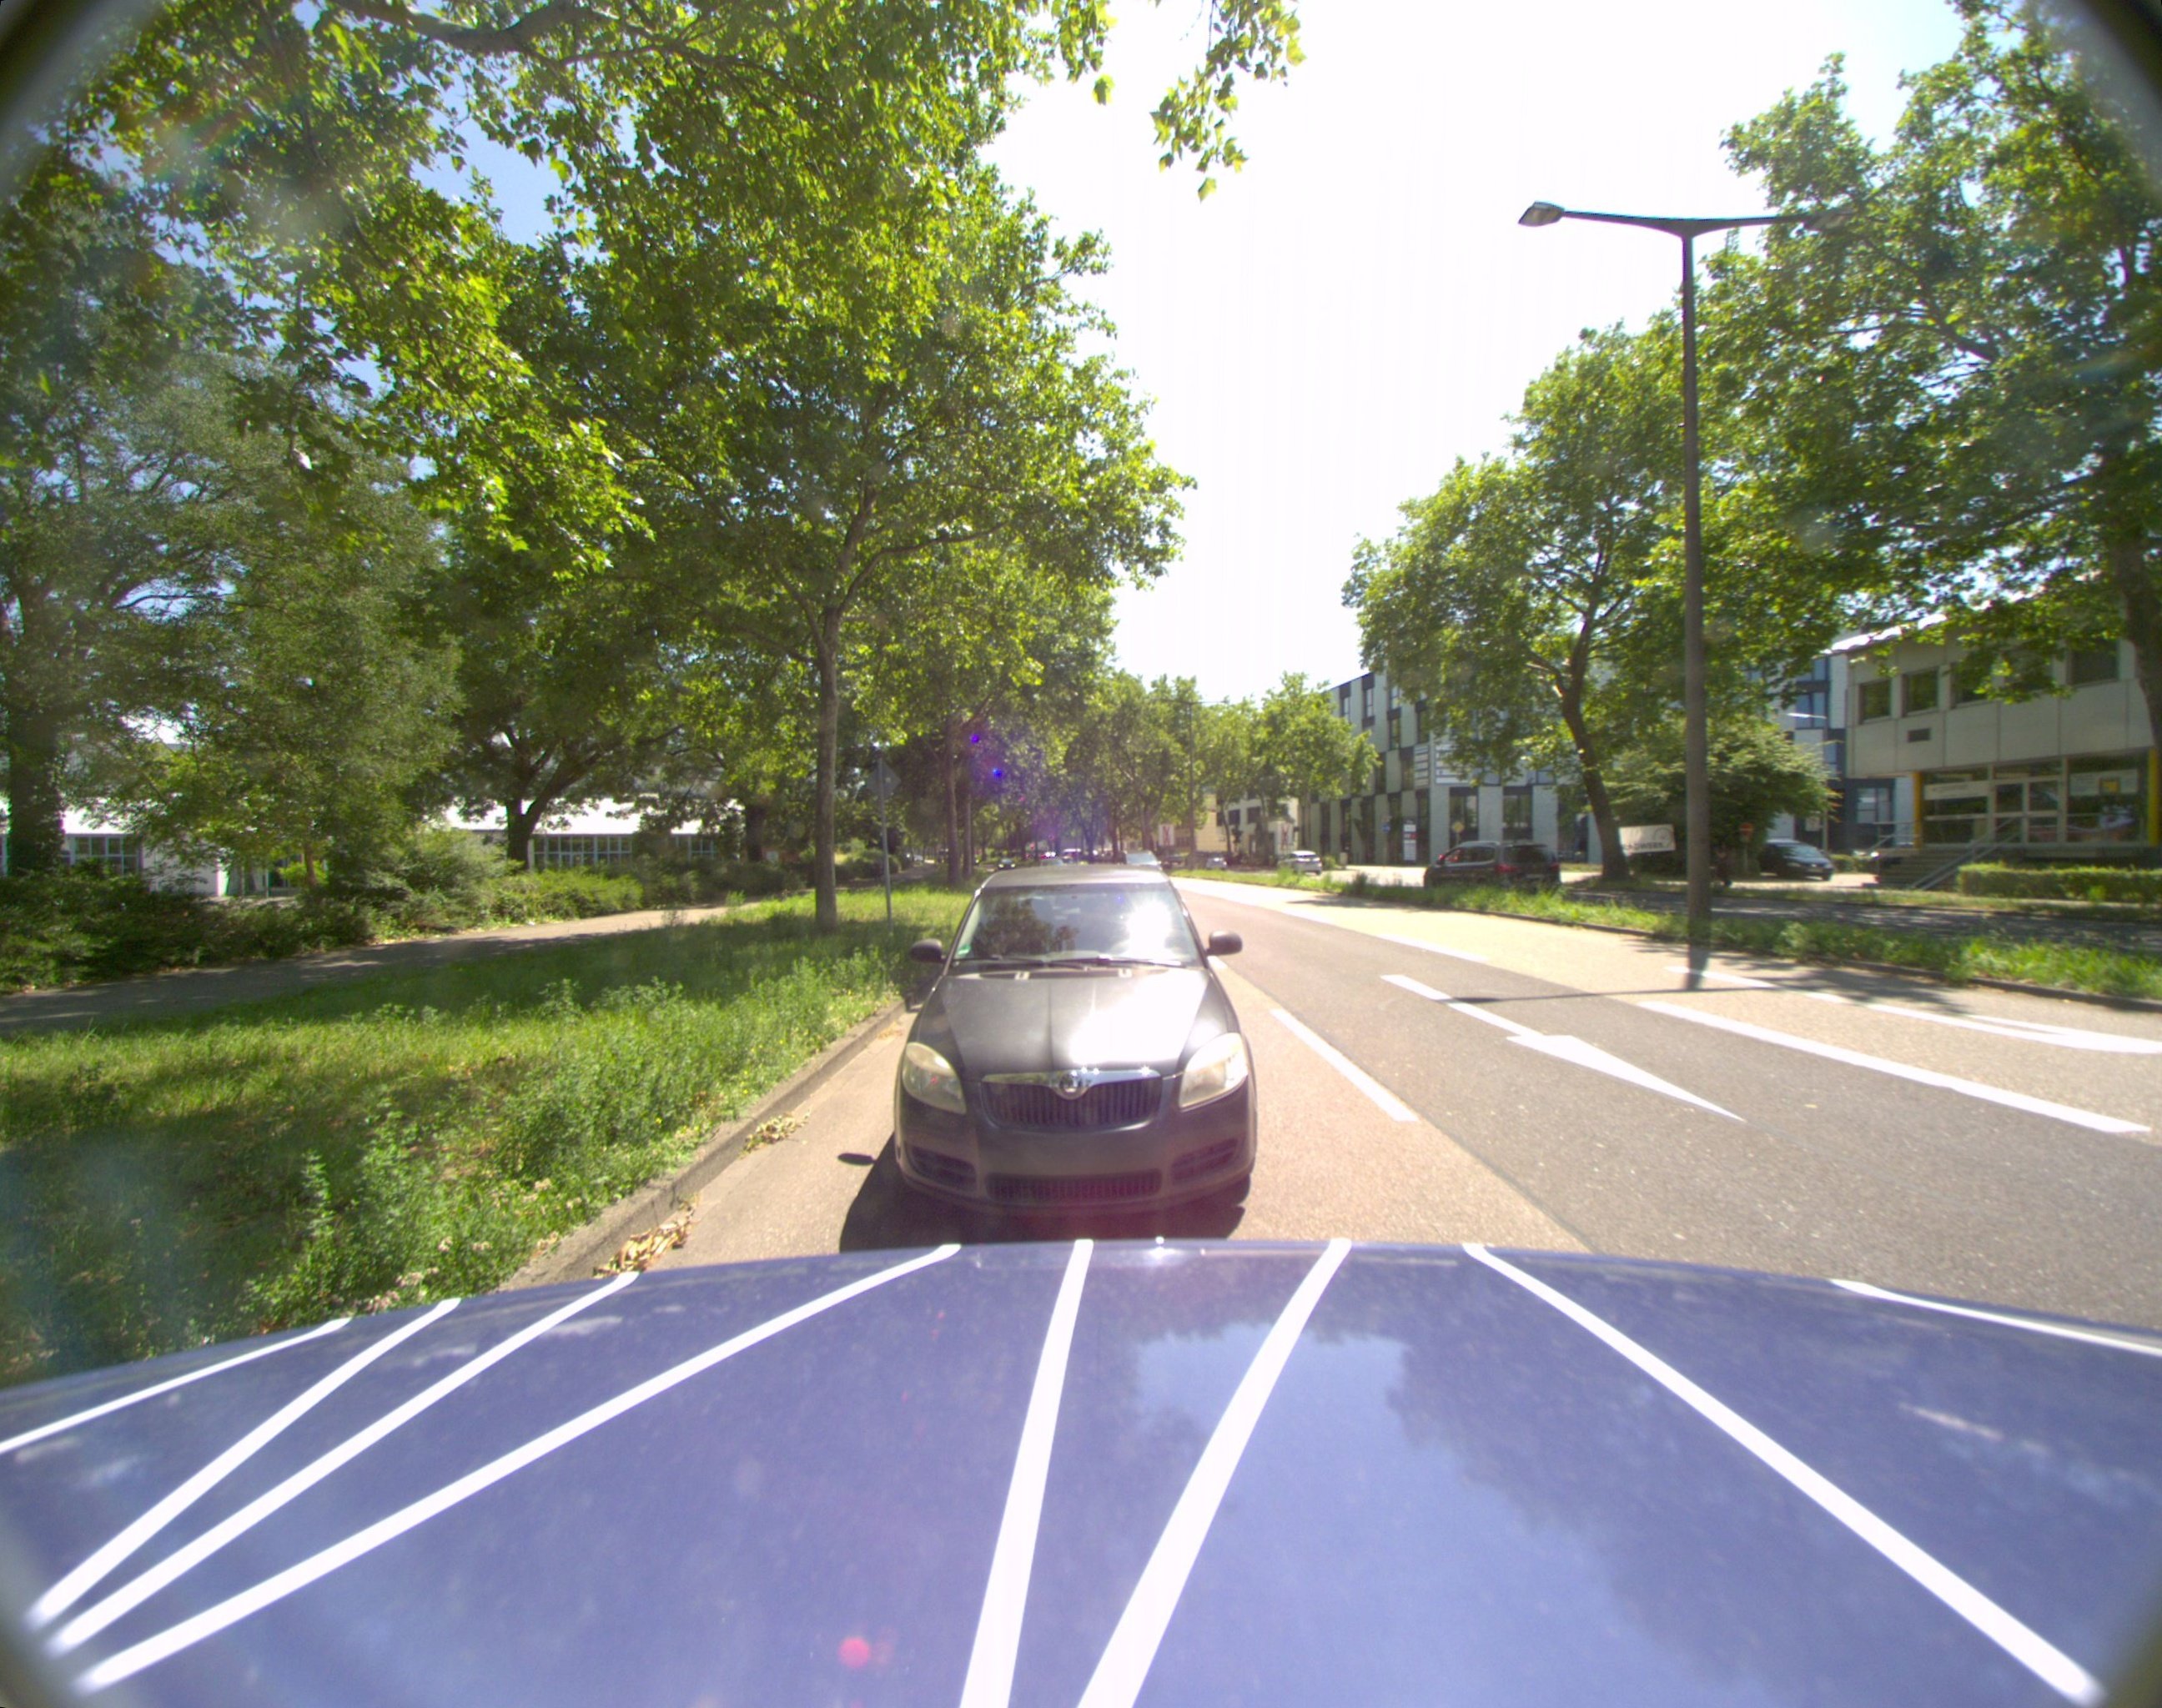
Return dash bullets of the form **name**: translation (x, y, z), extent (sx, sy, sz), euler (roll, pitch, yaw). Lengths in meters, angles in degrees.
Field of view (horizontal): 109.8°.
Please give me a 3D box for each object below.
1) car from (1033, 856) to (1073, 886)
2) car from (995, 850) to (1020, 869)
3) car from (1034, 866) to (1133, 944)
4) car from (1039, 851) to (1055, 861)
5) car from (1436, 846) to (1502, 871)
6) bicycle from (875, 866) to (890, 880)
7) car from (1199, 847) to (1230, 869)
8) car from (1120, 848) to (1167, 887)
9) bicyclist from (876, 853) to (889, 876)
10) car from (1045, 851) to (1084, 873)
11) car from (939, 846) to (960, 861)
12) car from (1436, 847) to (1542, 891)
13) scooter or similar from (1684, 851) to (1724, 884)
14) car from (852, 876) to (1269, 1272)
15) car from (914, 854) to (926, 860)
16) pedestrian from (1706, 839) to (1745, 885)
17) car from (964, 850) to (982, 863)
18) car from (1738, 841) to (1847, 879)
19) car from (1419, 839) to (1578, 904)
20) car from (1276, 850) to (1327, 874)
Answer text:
- **car**: translation (-1.449, 0.878, 40.624), extent (1.878, 1.448, 3.786), euler (-2, 0, 1)
- **car**: translation (-7.700, 0.577, 79.741), extent (2.001, 1.871, 3.995), euler (-1, 0, -14)
- **car**: translation (0.068, 0.964, 15.928), extent (1.791, 1.325, 3.742), euler (-2, 0, 1)
- **car**: translation (-5.719, 0.267, 128.304), extent (1.956, 1.600, 3.995), euler (-1, 0, -13)
- **car**: translation (23.481, 0.268, 45.973), extent (3.535, 1.453, 1.674), euler (-1, 0, -24)
- **bicycle**: translation (-11.884, 1.116, 45.463), extent (0.465, 0.760, 1.668), euler (-1, 1, 0)
- **car**: translation (9.738, 0.286, 55.696), extent (1.537, 1.519, 2.853), euler (-1, 0, -5)
- **car**: translation (2.916, 0.599, 36.499), extent (1.859, 1.745, 4.648), euler (-1, 0, 0)
- **bicyclist**: translation (-11.891, 0.608, 45.538), extent (0.600, 1.331, 0.666), euler (-1, 1, -1)
- **car**: translation (-1.139, 0.556, 51.998), extent (1.625, 1.437, 3.645), euler (-1, 0, -19)
- **car**: translation (-23.000, -0.085, 133.047), extent (2.922, 2.639, 6.357), euler (-1, 0, -16)
- **car**: translation (14.386, 0.498, 27.017), extent (1.736, 1.450, 3.673), euler (-1, 0, -2)
- **scooter or similar**: translation (21.820, 0.464, 26.615), extent (0.680, 1.157, 0.859), euler (-1, 1, -2)
- **car**: translation (-0.057, 0.951, 5.011), extent (1.654, 1.453, 3.865), euler (-1, 0, 1)
- **car**: translation (-33.144, 0.625, 156.285), extent (1.511, 1.379, 3.421), euler (-1, 0, -27)
- **pedestrian**: translation (21.845, 0.271, 25.769), extent (0.643, 1.551, 0.791), euler (-1, 1, -2)
- **car**: translation (-15.604, 0.307, 110.086), extent (2.001, 1.783, 3.994), euler (-1, 0, -16)
- **car**: translation (32.822, 0.242, 35.192), extent (1.819, 1.638, 3.528), euler (-2, 1, 4)
- **car**: translation (11.817, 0.446, 21.934), extent (1.954, 1.646, 4.620), euler (-1, 0, -2)
- **car**: translation (13.556, 0.481, 46.928), extent (1.757, 1.435, 3.670), euler (-1, 0, -6)
